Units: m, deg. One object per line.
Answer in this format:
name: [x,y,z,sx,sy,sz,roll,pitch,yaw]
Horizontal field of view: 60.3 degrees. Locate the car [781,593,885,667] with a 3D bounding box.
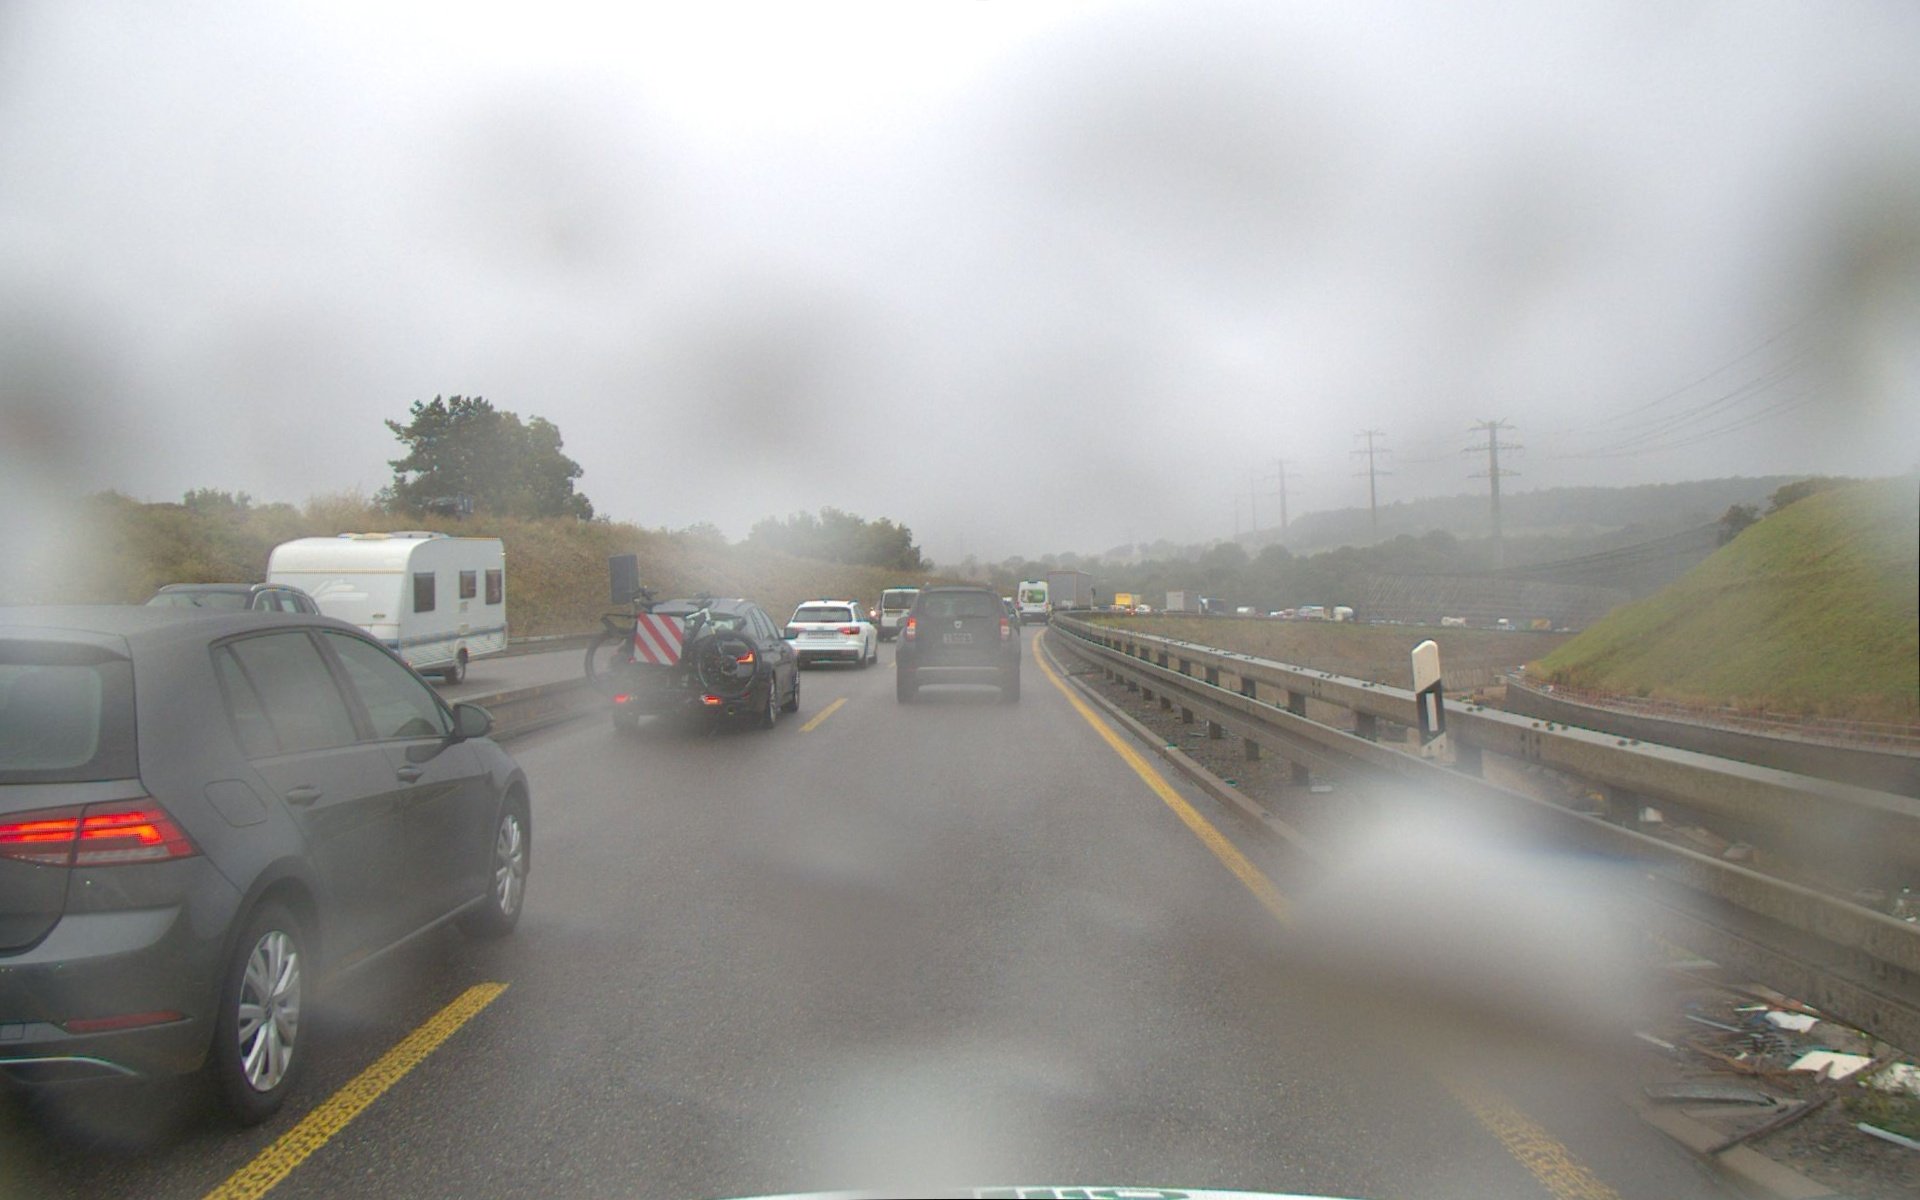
car: [-2.704,0.626,36.197,1.829,1.486,4.549,1,0,1]

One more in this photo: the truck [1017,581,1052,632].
truck: [4.870,0.420,108.425,2.105,3.221,6.460,1,0,1]

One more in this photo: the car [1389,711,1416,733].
car: [49.067,13.544,183.582,2.315,2.049,4.003,1,0,6]

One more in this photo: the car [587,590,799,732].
car: [-3.011,0.657,19.421,1.791,1.502,3.777,0,0,1]

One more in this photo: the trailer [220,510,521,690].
trailer: [-9.618,-0.015,27.899,2.458,2.609,7.162,1,0,0]

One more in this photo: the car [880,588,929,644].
car: [-1.973,0.570,59.371,1.626,1.913,4.019,1,0,-1]

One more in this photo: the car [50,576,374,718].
car: [-9.585,0.533,21.753,1.953,1.614,5.118,1,0,-1]

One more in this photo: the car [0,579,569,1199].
car: [-2.667,0.753,5.775,1.581,1.532,4.367,-2,0,-1]

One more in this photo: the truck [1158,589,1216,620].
truck: [32.842,0.642,238.610,4.621,4.222,15.680,1,0,22]

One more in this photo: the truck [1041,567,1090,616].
truck: [8.718,-0.681,135.796,3.132,3.827,8.516,1,0,9]

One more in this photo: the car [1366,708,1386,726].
car: [50.311,14.134,200.174,1.951,1.848,4.003,0,-1,9]

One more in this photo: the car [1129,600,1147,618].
car: [19.598,0.965,181.884,1.737,1.949,4.003,1,0,10]

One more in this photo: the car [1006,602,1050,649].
car: [2.544,0.939,62.606,1.499,1.669,4.012,1,0,0]

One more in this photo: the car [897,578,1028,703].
car: [0.027,0.561,24.233,1.767,1.675,3.776,0,0,0]

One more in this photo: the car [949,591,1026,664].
car: [0.650,0.674,41.798,1.829,1.738,3.999,1,0,-1]
